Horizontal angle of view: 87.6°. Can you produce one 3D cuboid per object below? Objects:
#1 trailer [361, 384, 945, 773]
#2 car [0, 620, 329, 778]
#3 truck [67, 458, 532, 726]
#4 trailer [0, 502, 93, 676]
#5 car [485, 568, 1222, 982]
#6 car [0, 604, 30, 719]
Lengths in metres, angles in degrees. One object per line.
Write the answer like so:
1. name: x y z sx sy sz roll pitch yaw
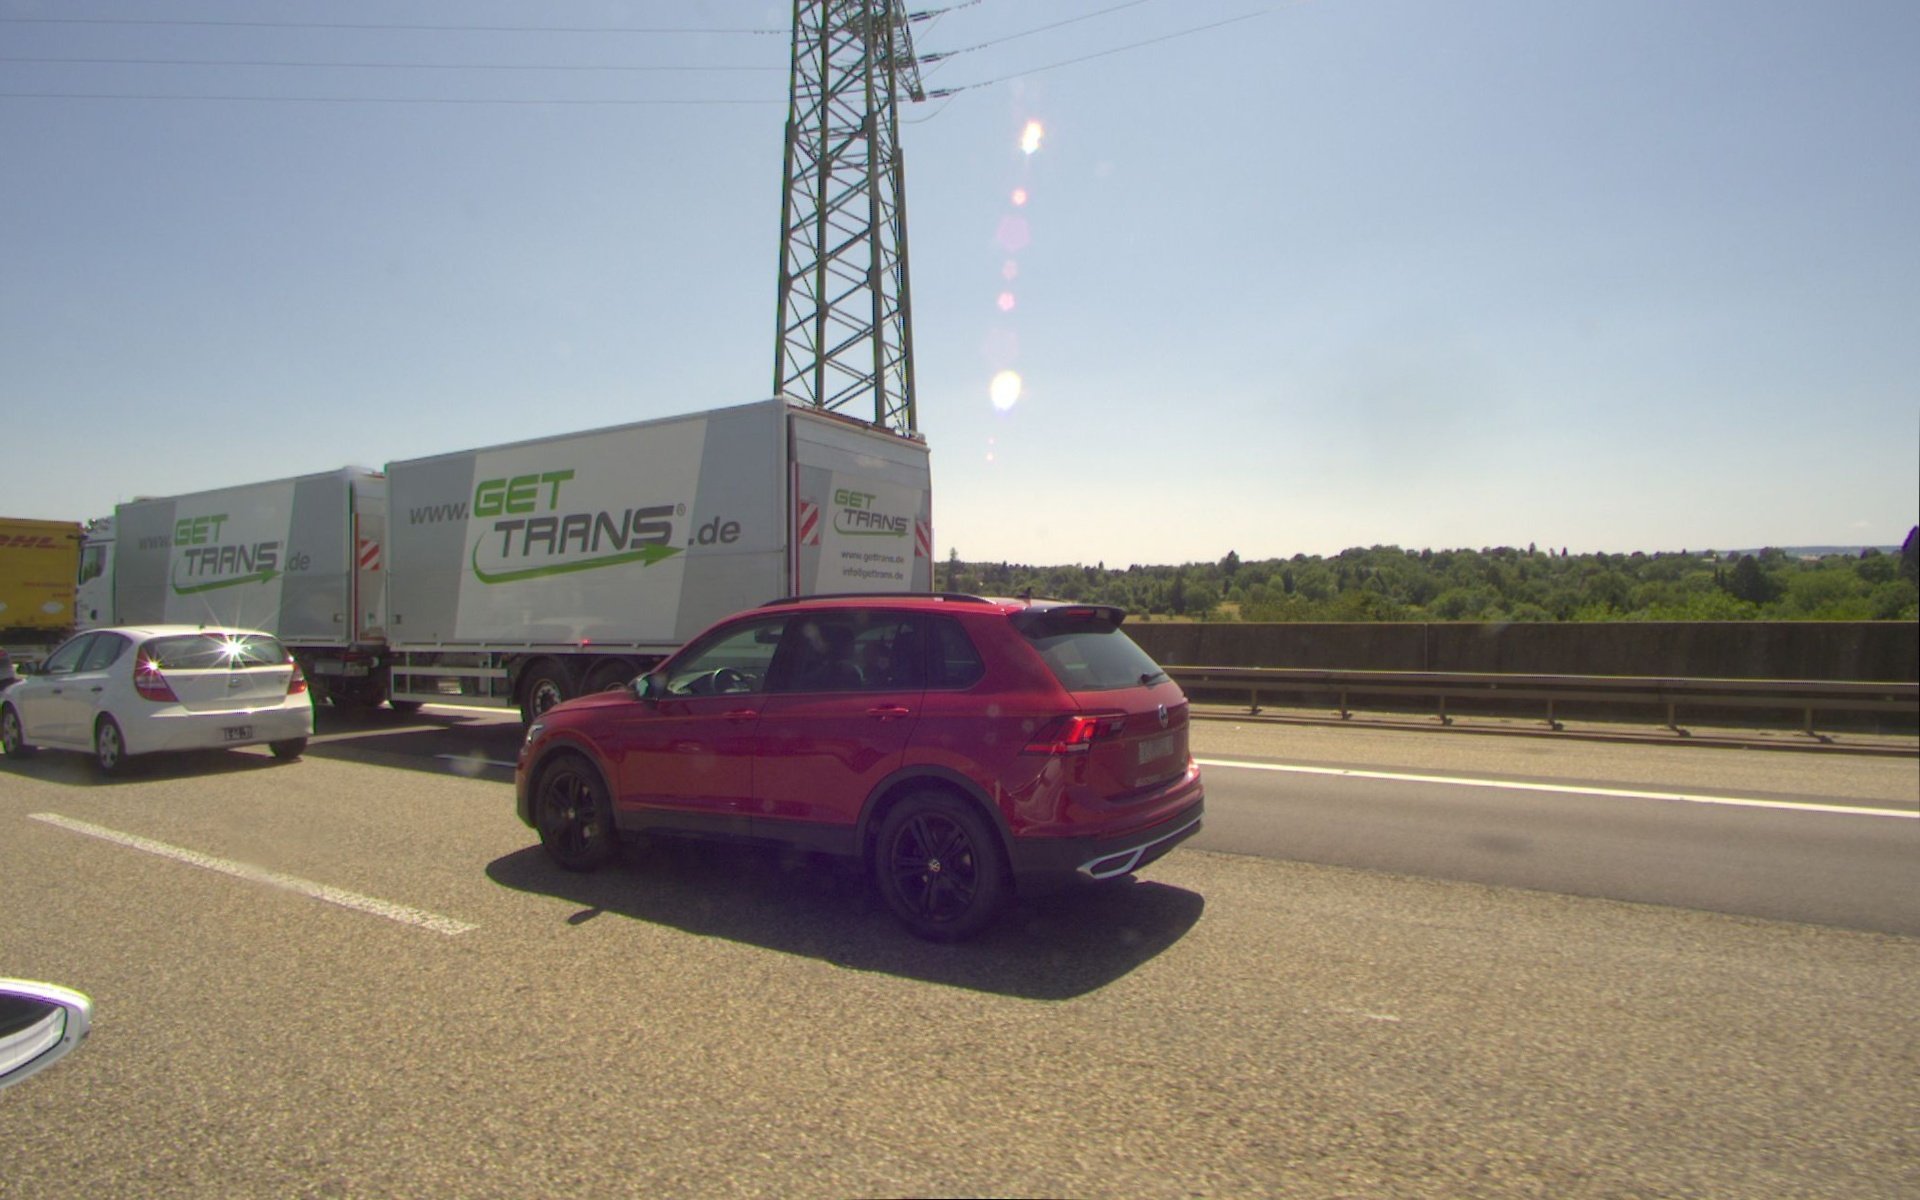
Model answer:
1. trailer: -4.225 -0.148 12.886 7.899 3.748 2.693 -1 0 32
2. car: -9.155 0.970 11.322 4.231 1.474 1.785 -1 -1 32
3. truck: -12.173 -0.042 17.834 10.851 3.695 2.652 -1 0 32
4. trailer: -27.152 -0.183 27.309 8.883 4.293 2.860 -1 -2 32
5. car: -0.758 0.751 5.938 4.163 1.683 1.772 -1 -1 32
6. car: -16.045 0.914 15.104 4.231 1.666 1.958 -1 -1 32
